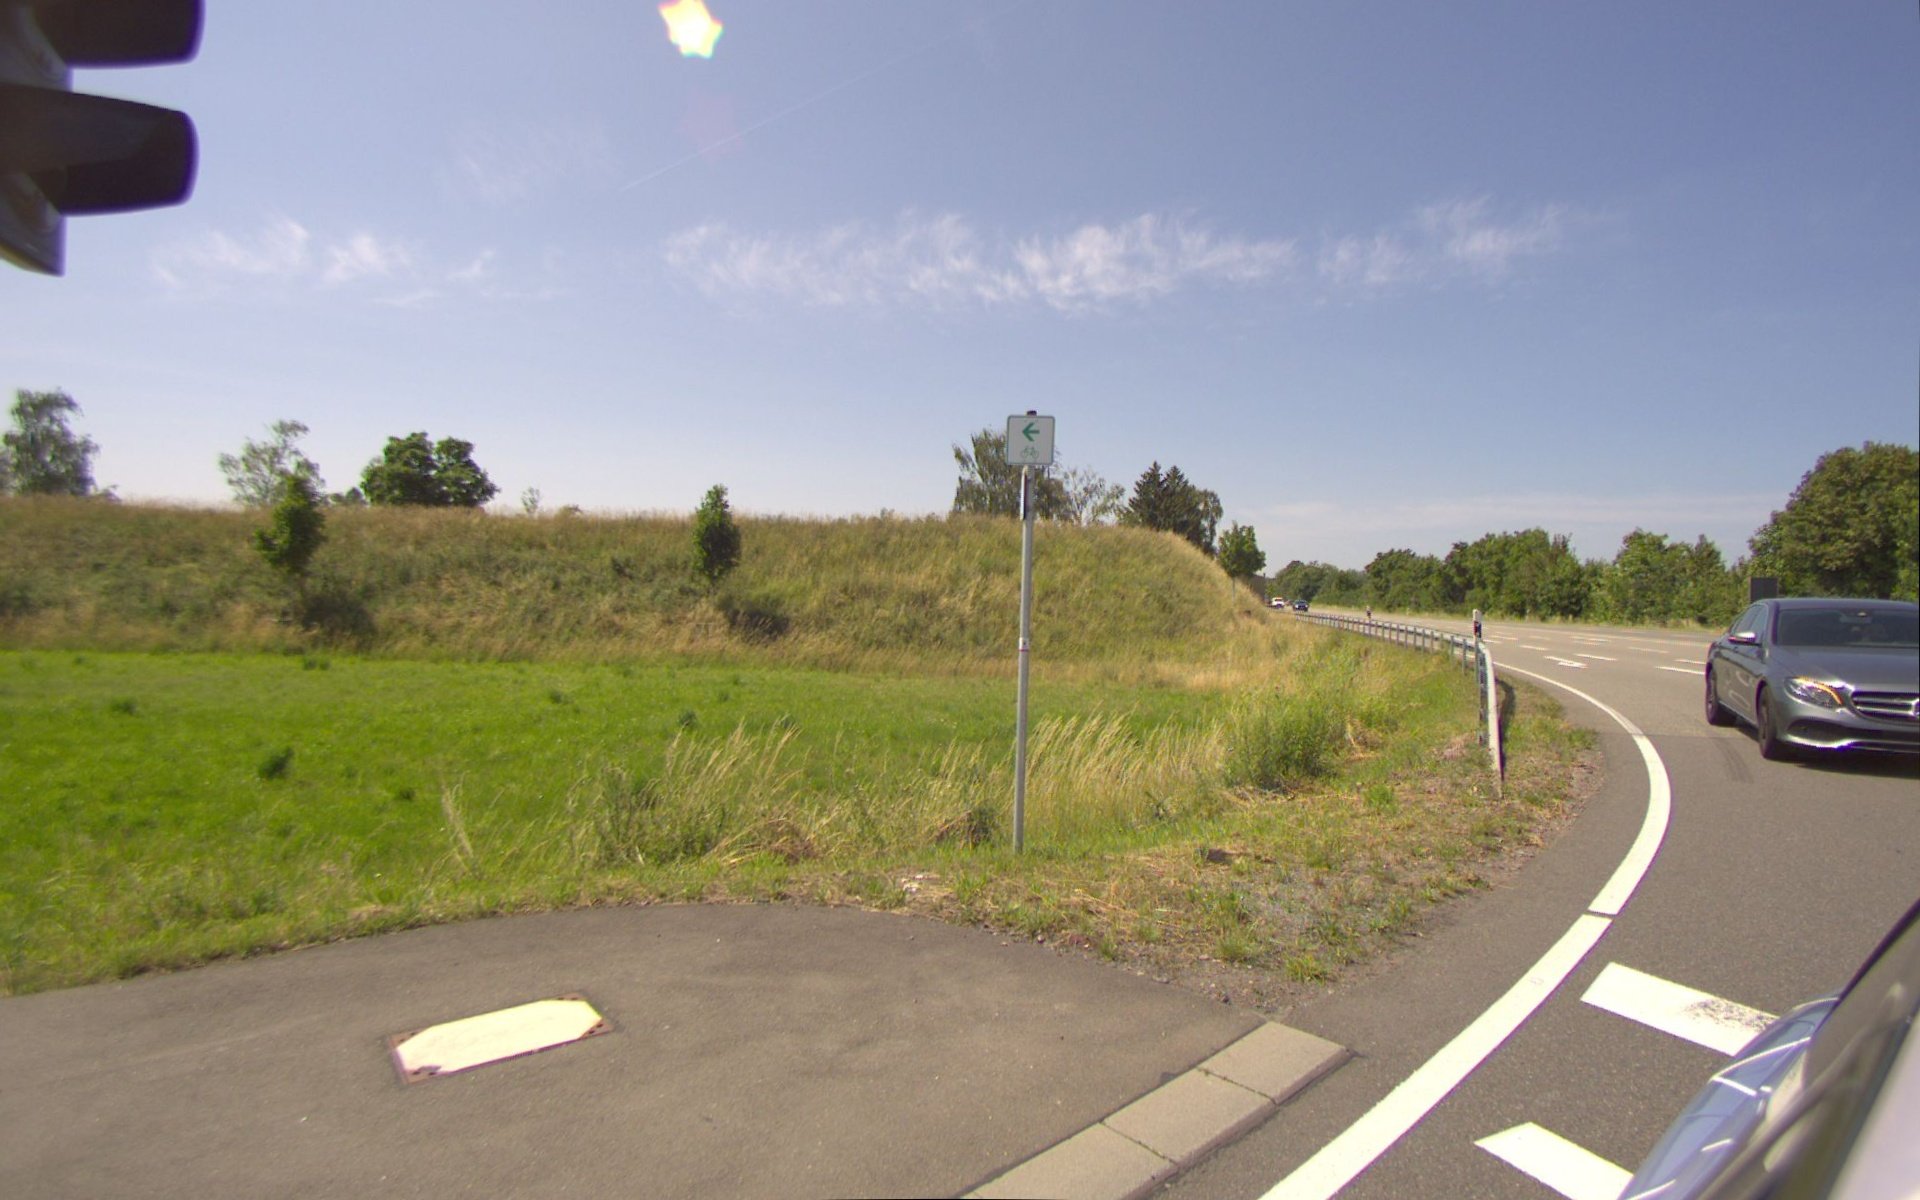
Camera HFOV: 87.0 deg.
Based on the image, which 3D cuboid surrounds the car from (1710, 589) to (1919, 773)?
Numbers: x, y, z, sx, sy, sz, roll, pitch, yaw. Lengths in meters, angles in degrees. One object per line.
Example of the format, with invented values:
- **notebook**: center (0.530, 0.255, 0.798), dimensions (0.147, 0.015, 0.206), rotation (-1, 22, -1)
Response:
- **car**: center (8.845, 0.633, 9.958), dimensions (1.880, 1.465, 4.476), rotation (0, 0, 31)

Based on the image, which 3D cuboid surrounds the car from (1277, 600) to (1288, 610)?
- **car**: center (58.125, 0.893, 182.510), dimensions (1.778, 1.705, 3.979), rotation (-1, 1, 17)

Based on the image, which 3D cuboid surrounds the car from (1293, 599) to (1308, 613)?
- **car**: center (47.263, 0.820, 140.565), dimensions (1.777, 1.705, 3.980), rotation (-1, 1, 16)

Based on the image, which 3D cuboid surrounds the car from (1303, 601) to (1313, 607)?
- **car**: center (82.056, 0.975, 238.655), dimensions (1.856, 1.416, 4.512), rotation (0, 0, 13)
